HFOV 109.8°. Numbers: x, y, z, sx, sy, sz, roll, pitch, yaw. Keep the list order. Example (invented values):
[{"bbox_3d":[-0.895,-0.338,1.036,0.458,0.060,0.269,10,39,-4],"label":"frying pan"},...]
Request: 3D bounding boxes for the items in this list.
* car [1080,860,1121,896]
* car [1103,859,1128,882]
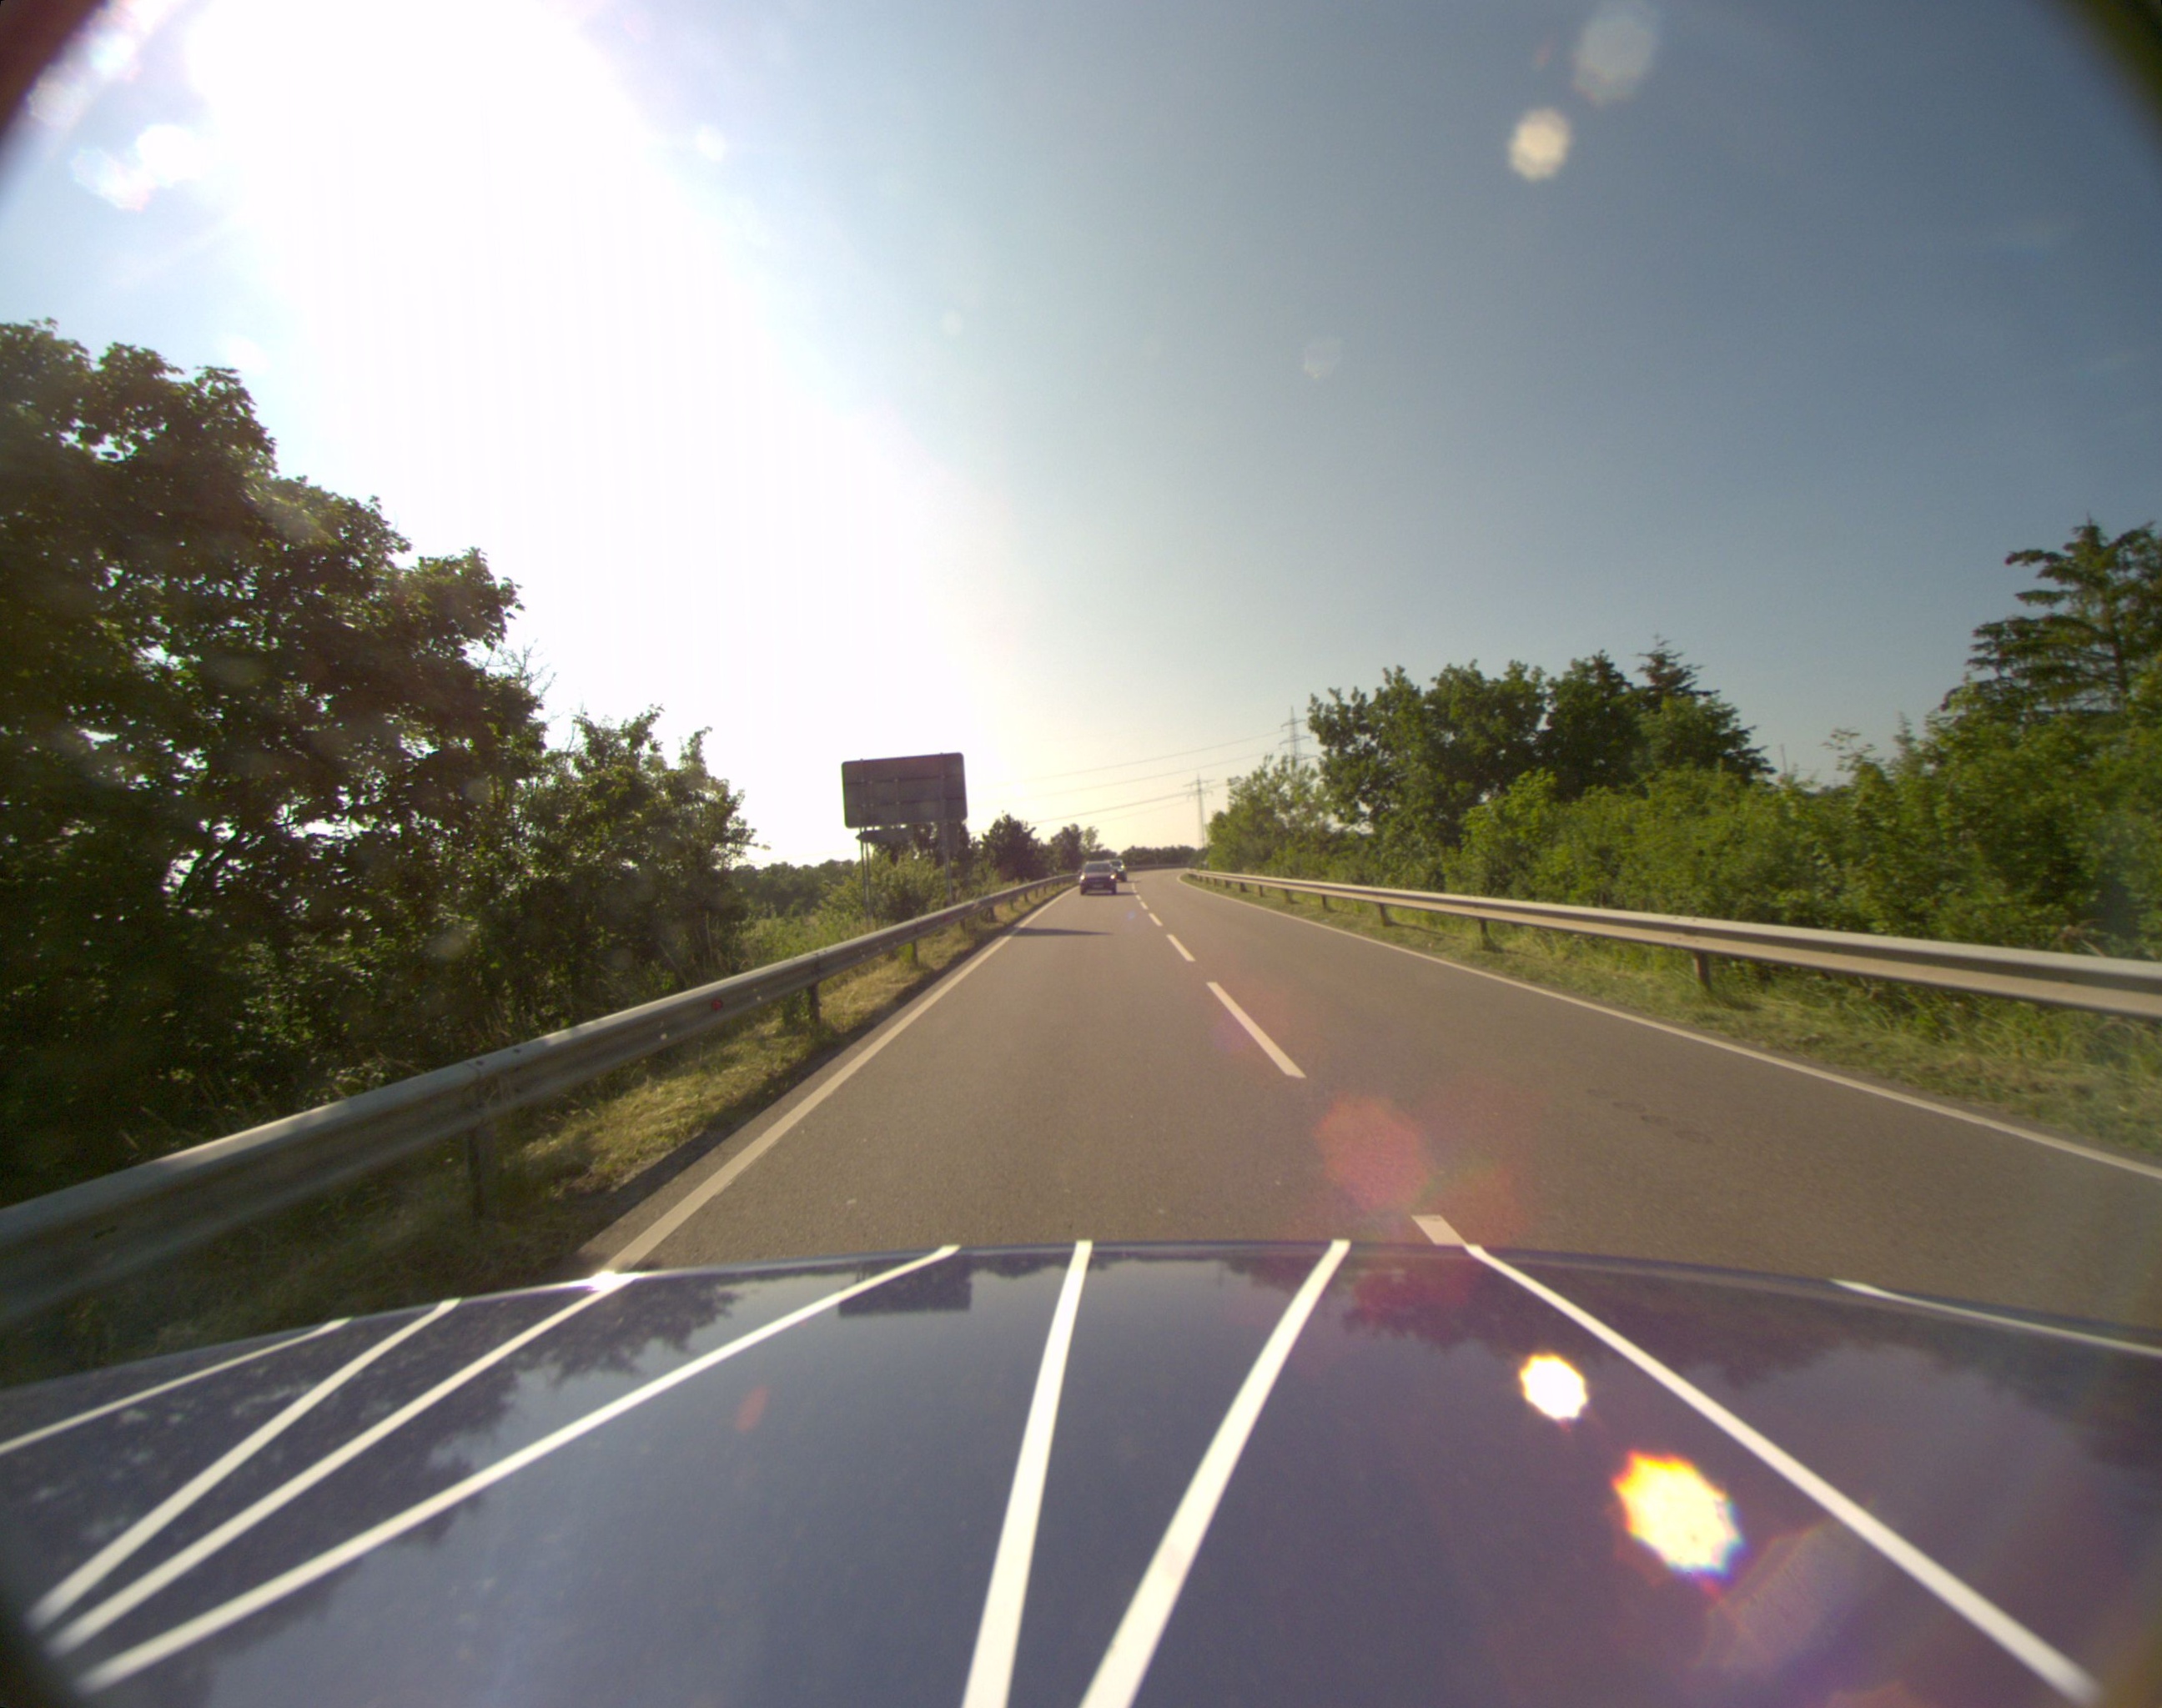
[{"bbox_3d":[0.963,1.064,35.180,1.606,1.486,4.001,-3,0,5],"label":"car"},{"bbox_3d":[2.603,1.200,56.406,1.606,1.486,4.001,-3,0,5],"label":"car"}]
